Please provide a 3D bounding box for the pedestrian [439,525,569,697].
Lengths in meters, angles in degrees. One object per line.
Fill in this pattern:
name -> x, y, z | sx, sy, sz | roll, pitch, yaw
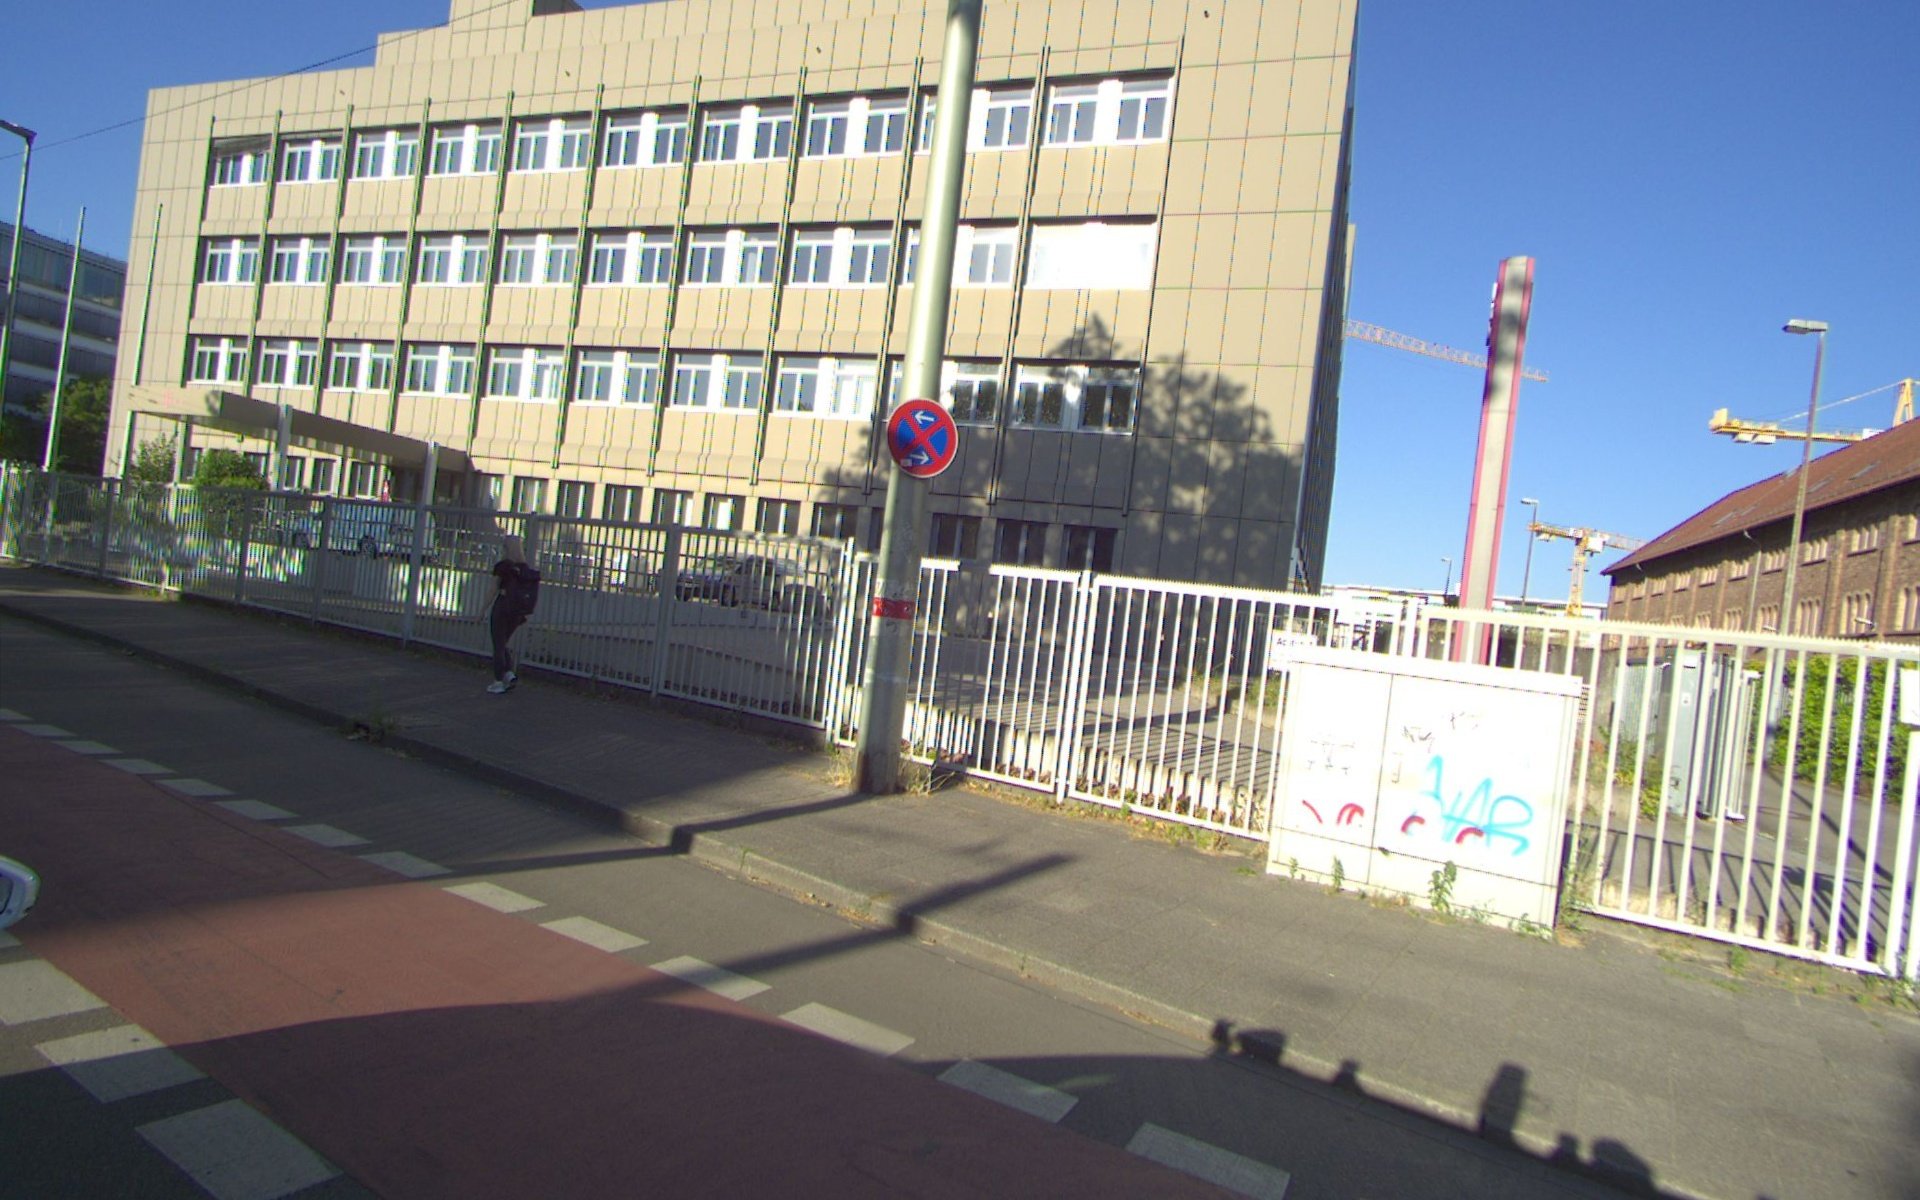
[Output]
pedestrian -> -4.899, 0.121, 10.821 | 0.914, 1.704, 0.697 | 7, 0, 26

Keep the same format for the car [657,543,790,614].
car -> -7.468, -0.624, 32.225 | 1.956, 1.738, 4.266 | 7, -1, 20

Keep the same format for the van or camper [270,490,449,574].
van or camper -> -18.558, -2.087, 31.107 | 4.907, 1.932, 1.987 | 7, 0, 20
